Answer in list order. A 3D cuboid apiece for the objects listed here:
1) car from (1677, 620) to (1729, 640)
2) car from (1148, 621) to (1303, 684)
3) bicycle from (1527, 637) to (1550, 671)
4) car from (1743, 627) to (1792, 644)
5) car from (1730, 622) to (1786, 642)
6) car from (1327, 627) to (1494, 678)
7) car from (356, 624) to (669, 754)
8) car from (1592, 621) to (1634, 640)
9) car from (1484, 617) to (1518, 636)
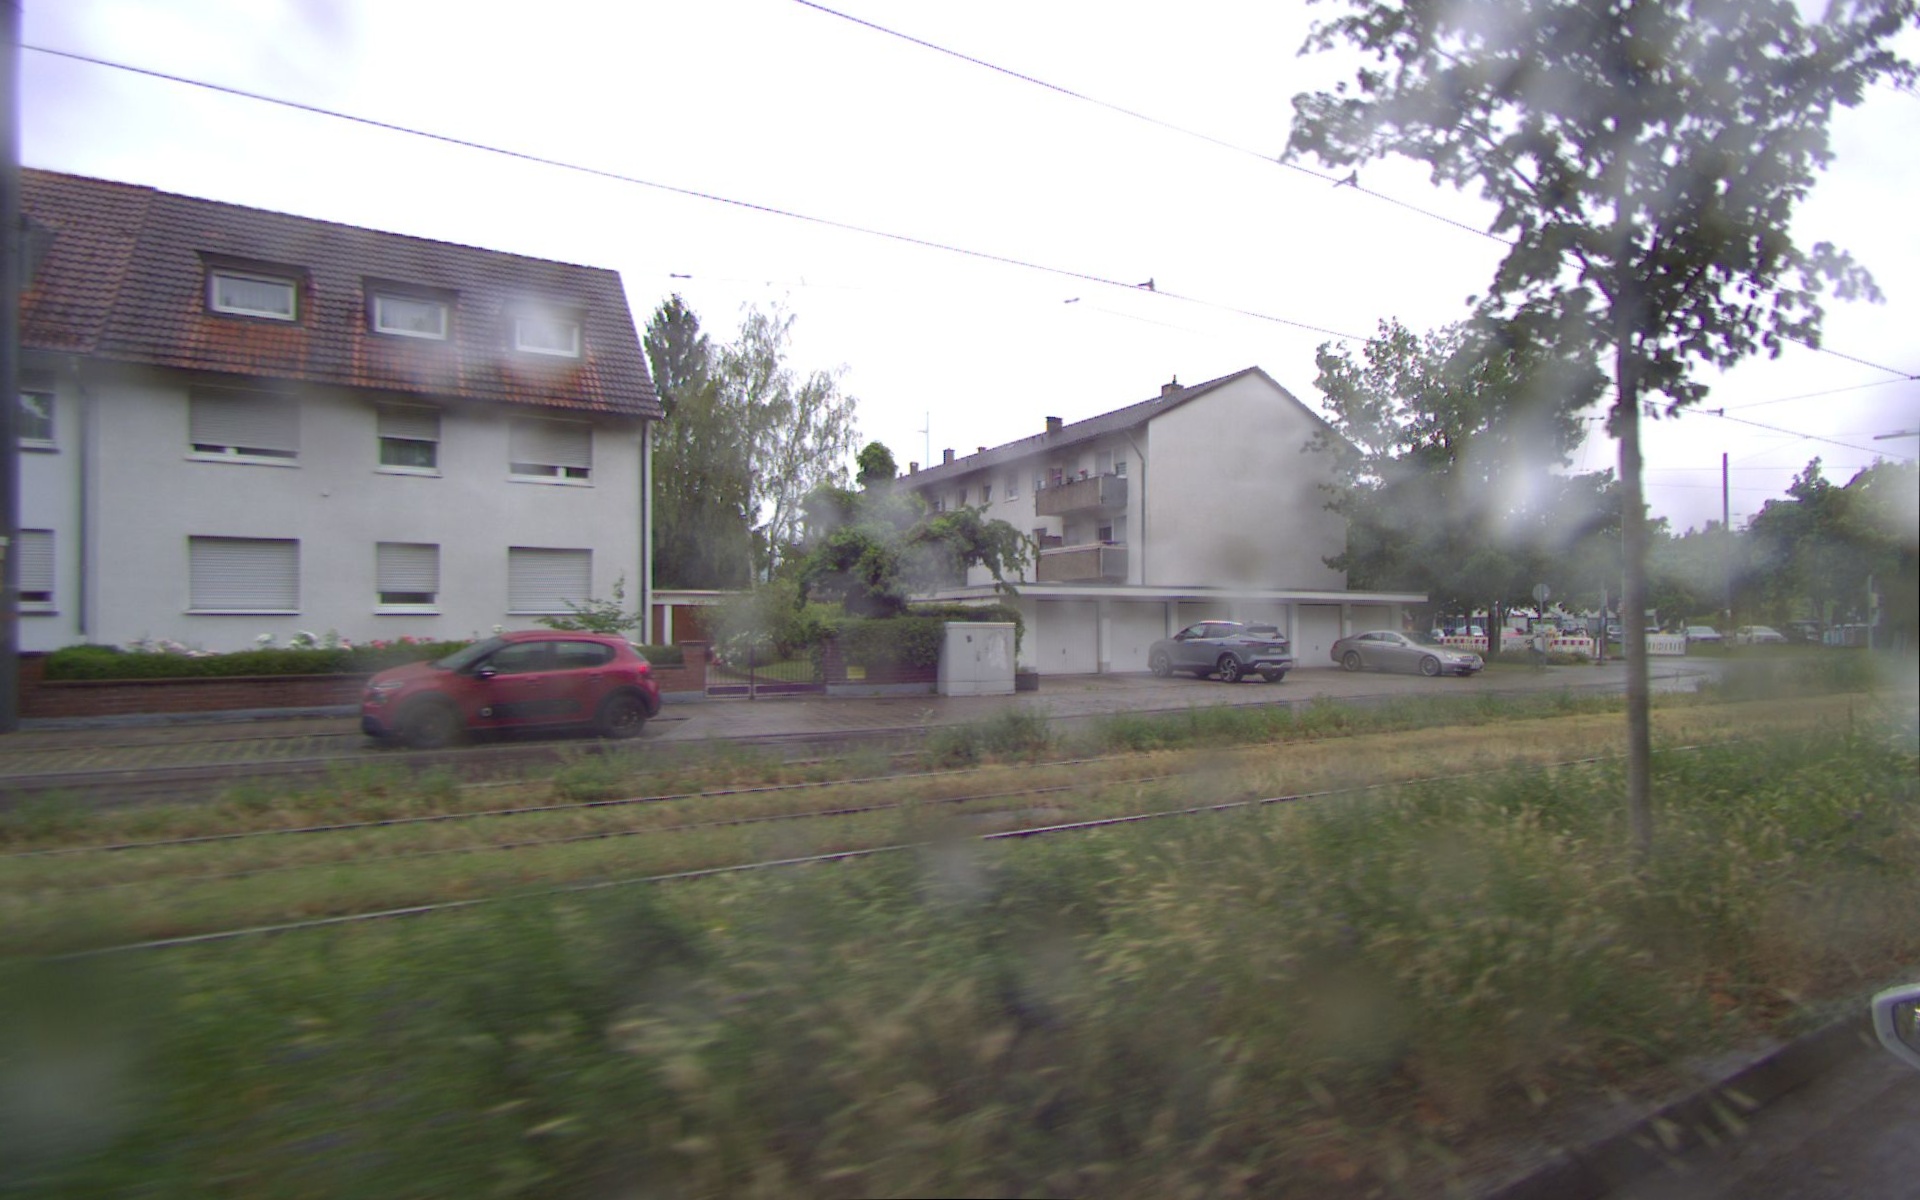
[{"bbox_3d":[48.258,1.939,65.304,1.632,1.265,3.743,-1,-2,19],"label":"car"},{"bbox_3d":[7.191,1.385,27.603,1.871,1.597,3.968,0,-2,-31],"label":"car"},{"bbox_3d":[19.534,1.815,33.920,0.474,1.033,1.835,3,1,35],"label":"bicycle"},{"bbox_3d":[59.482,2.627,74.053,1.632,1.265,3.743,-1,-2,19],"label":"car"},{"bbox_3d":[51.332,2.046,64.672,1.632,1.265,3.743,-1,-2,19],"label":"car"},{"bbox_3d":[14.103,1.599,31.736,1.826,1.383,4.705,0,-1,-29],"label":"car"},{"bbox_3d":[-6.421,1.176,14.563,3.925,1.568,1.833,1,1,-30],"label":"car"},{"bbox_3d":[44.212,2.058,68.058,1.633,1.265,3.742,-1,-2,21],"label":"car"},{"bbox_3d":[37.632,1.870,69.958,1.633,1.265,3.742,-1,-2,21],"label":"car"}]
